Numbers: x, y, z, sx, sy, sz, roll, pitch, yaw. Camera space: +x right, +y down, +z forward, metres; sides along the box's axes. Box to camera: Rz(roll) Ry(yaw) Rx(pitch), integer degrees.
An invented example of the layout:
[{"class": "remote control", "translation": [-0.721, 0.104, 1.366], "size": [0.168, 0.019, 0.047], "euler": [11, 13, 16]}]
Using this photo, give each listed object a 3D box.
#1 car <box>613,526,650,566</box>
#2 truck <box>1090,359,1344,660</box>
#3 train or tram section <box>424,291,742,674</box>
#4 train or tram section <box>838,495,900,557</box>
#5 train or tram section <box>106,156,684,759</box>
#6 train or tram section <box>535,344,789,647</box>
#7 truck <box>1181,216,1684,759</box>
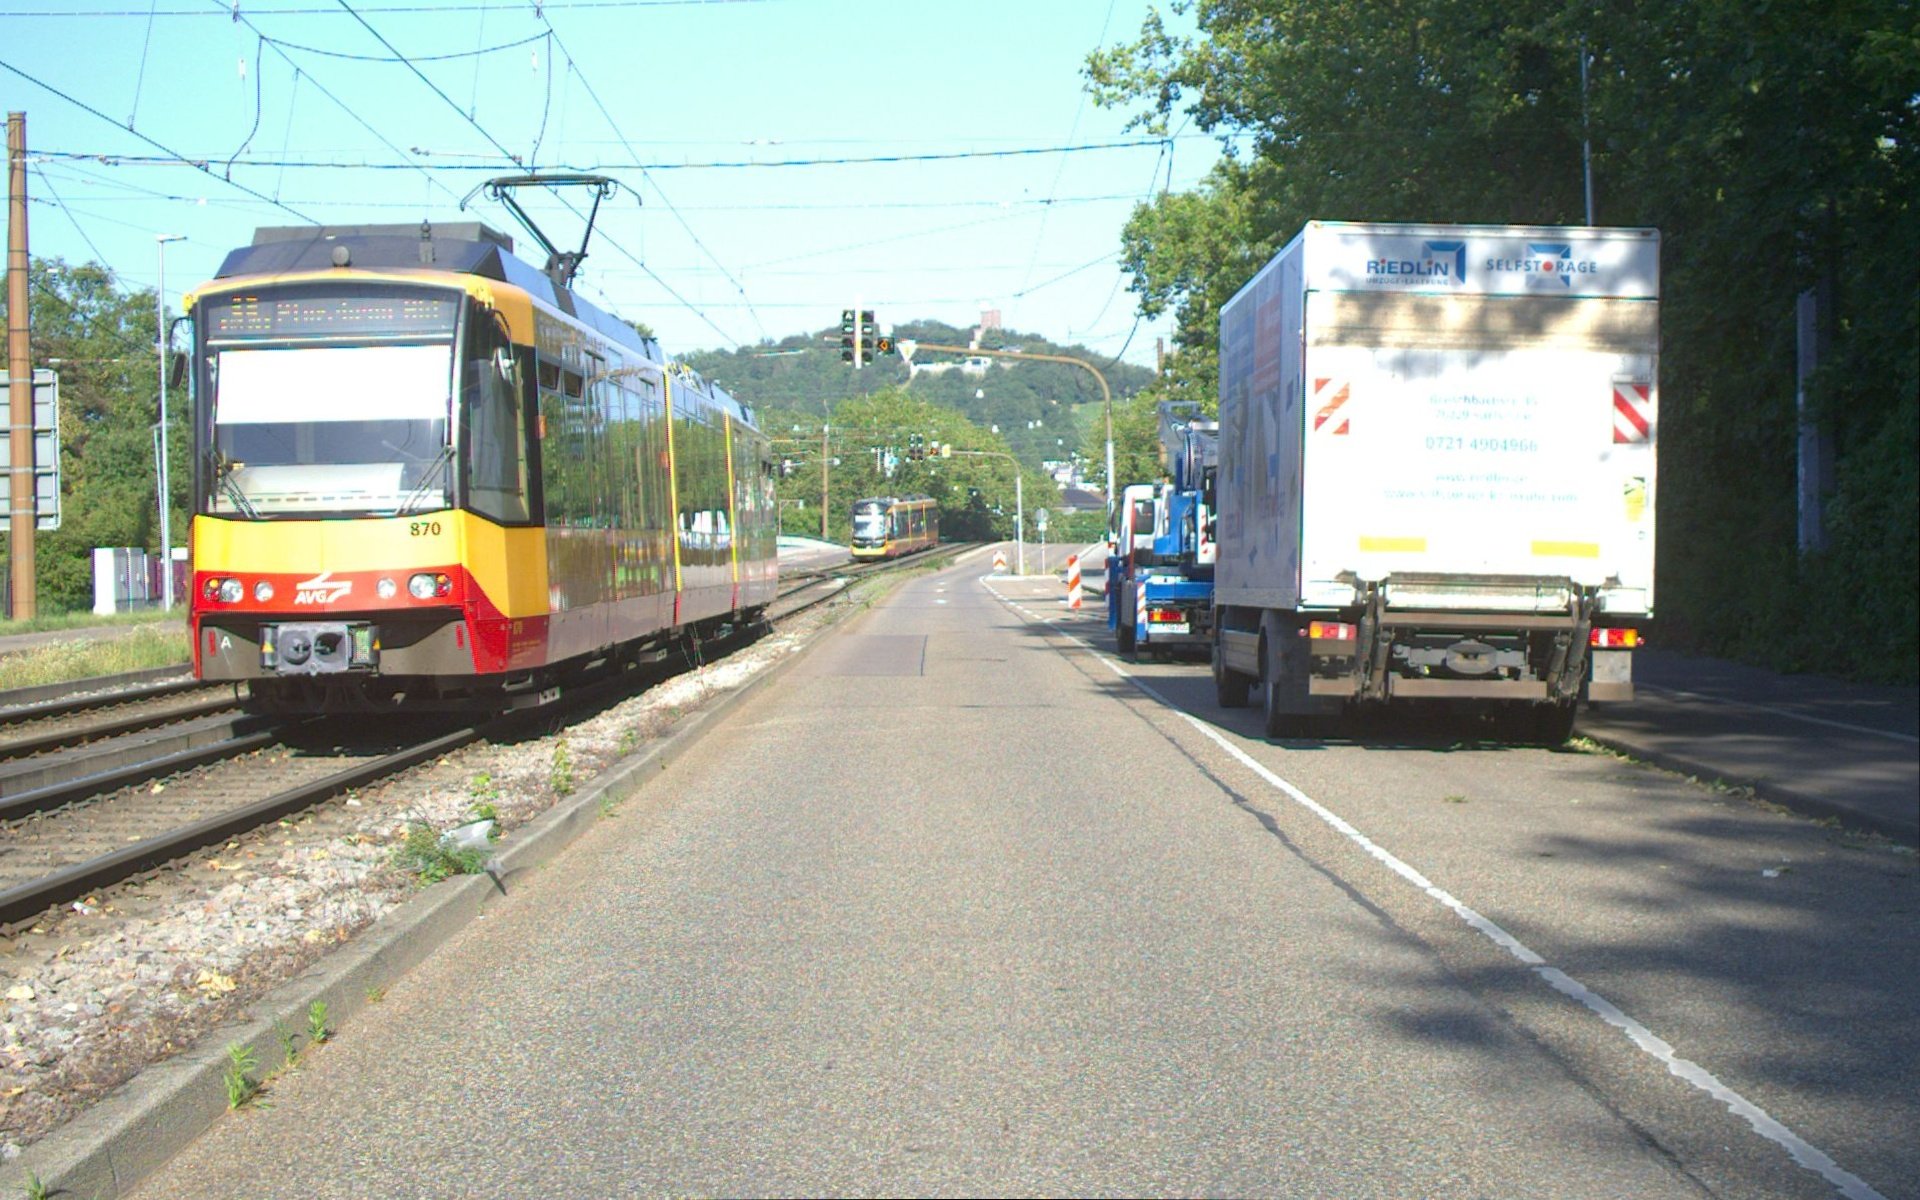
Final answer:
[{"class": "car", "translation": [-16.969, -2.787, 177.660], "size": [1.723, 2.007, 4.000], "euler": [1, 0, -3]}, {"class": "truck", "translation": [3.443, -1.227, 48.482], "size": [2.717, 3.770, 9.762], "euler": [1, 1, 0]}, {"class": "train or tram section", "translation": [-4.405, -1.364, 42.225], "size": [2.694, 4.075, 9.911], "euler": [-2, 1, 0]}, {"class": "train or tram section", "translation": [-5.358, -4.373, 204.204], "size": [2.644, 3.554, 10.831], "euler": [-1, 1, 3]}, {"class": "train or tram section", "translation": [-4.437, -1.103, 30.471], "size": [2.721, 4.077, 13.616], "euler": [-2, 1, 0]}, {"class": "train or tram section", "translation": [-4.413, -1.550, 53.583], "size": [2.719, 4.075, 12.813], "euler": [-2, 1, 0]}, {"class": "truck", "translation": [3.648, -0.874, 29.229], "size": [2.742, 3.770, 10.090], "euler": [1, 1, 0]}]
